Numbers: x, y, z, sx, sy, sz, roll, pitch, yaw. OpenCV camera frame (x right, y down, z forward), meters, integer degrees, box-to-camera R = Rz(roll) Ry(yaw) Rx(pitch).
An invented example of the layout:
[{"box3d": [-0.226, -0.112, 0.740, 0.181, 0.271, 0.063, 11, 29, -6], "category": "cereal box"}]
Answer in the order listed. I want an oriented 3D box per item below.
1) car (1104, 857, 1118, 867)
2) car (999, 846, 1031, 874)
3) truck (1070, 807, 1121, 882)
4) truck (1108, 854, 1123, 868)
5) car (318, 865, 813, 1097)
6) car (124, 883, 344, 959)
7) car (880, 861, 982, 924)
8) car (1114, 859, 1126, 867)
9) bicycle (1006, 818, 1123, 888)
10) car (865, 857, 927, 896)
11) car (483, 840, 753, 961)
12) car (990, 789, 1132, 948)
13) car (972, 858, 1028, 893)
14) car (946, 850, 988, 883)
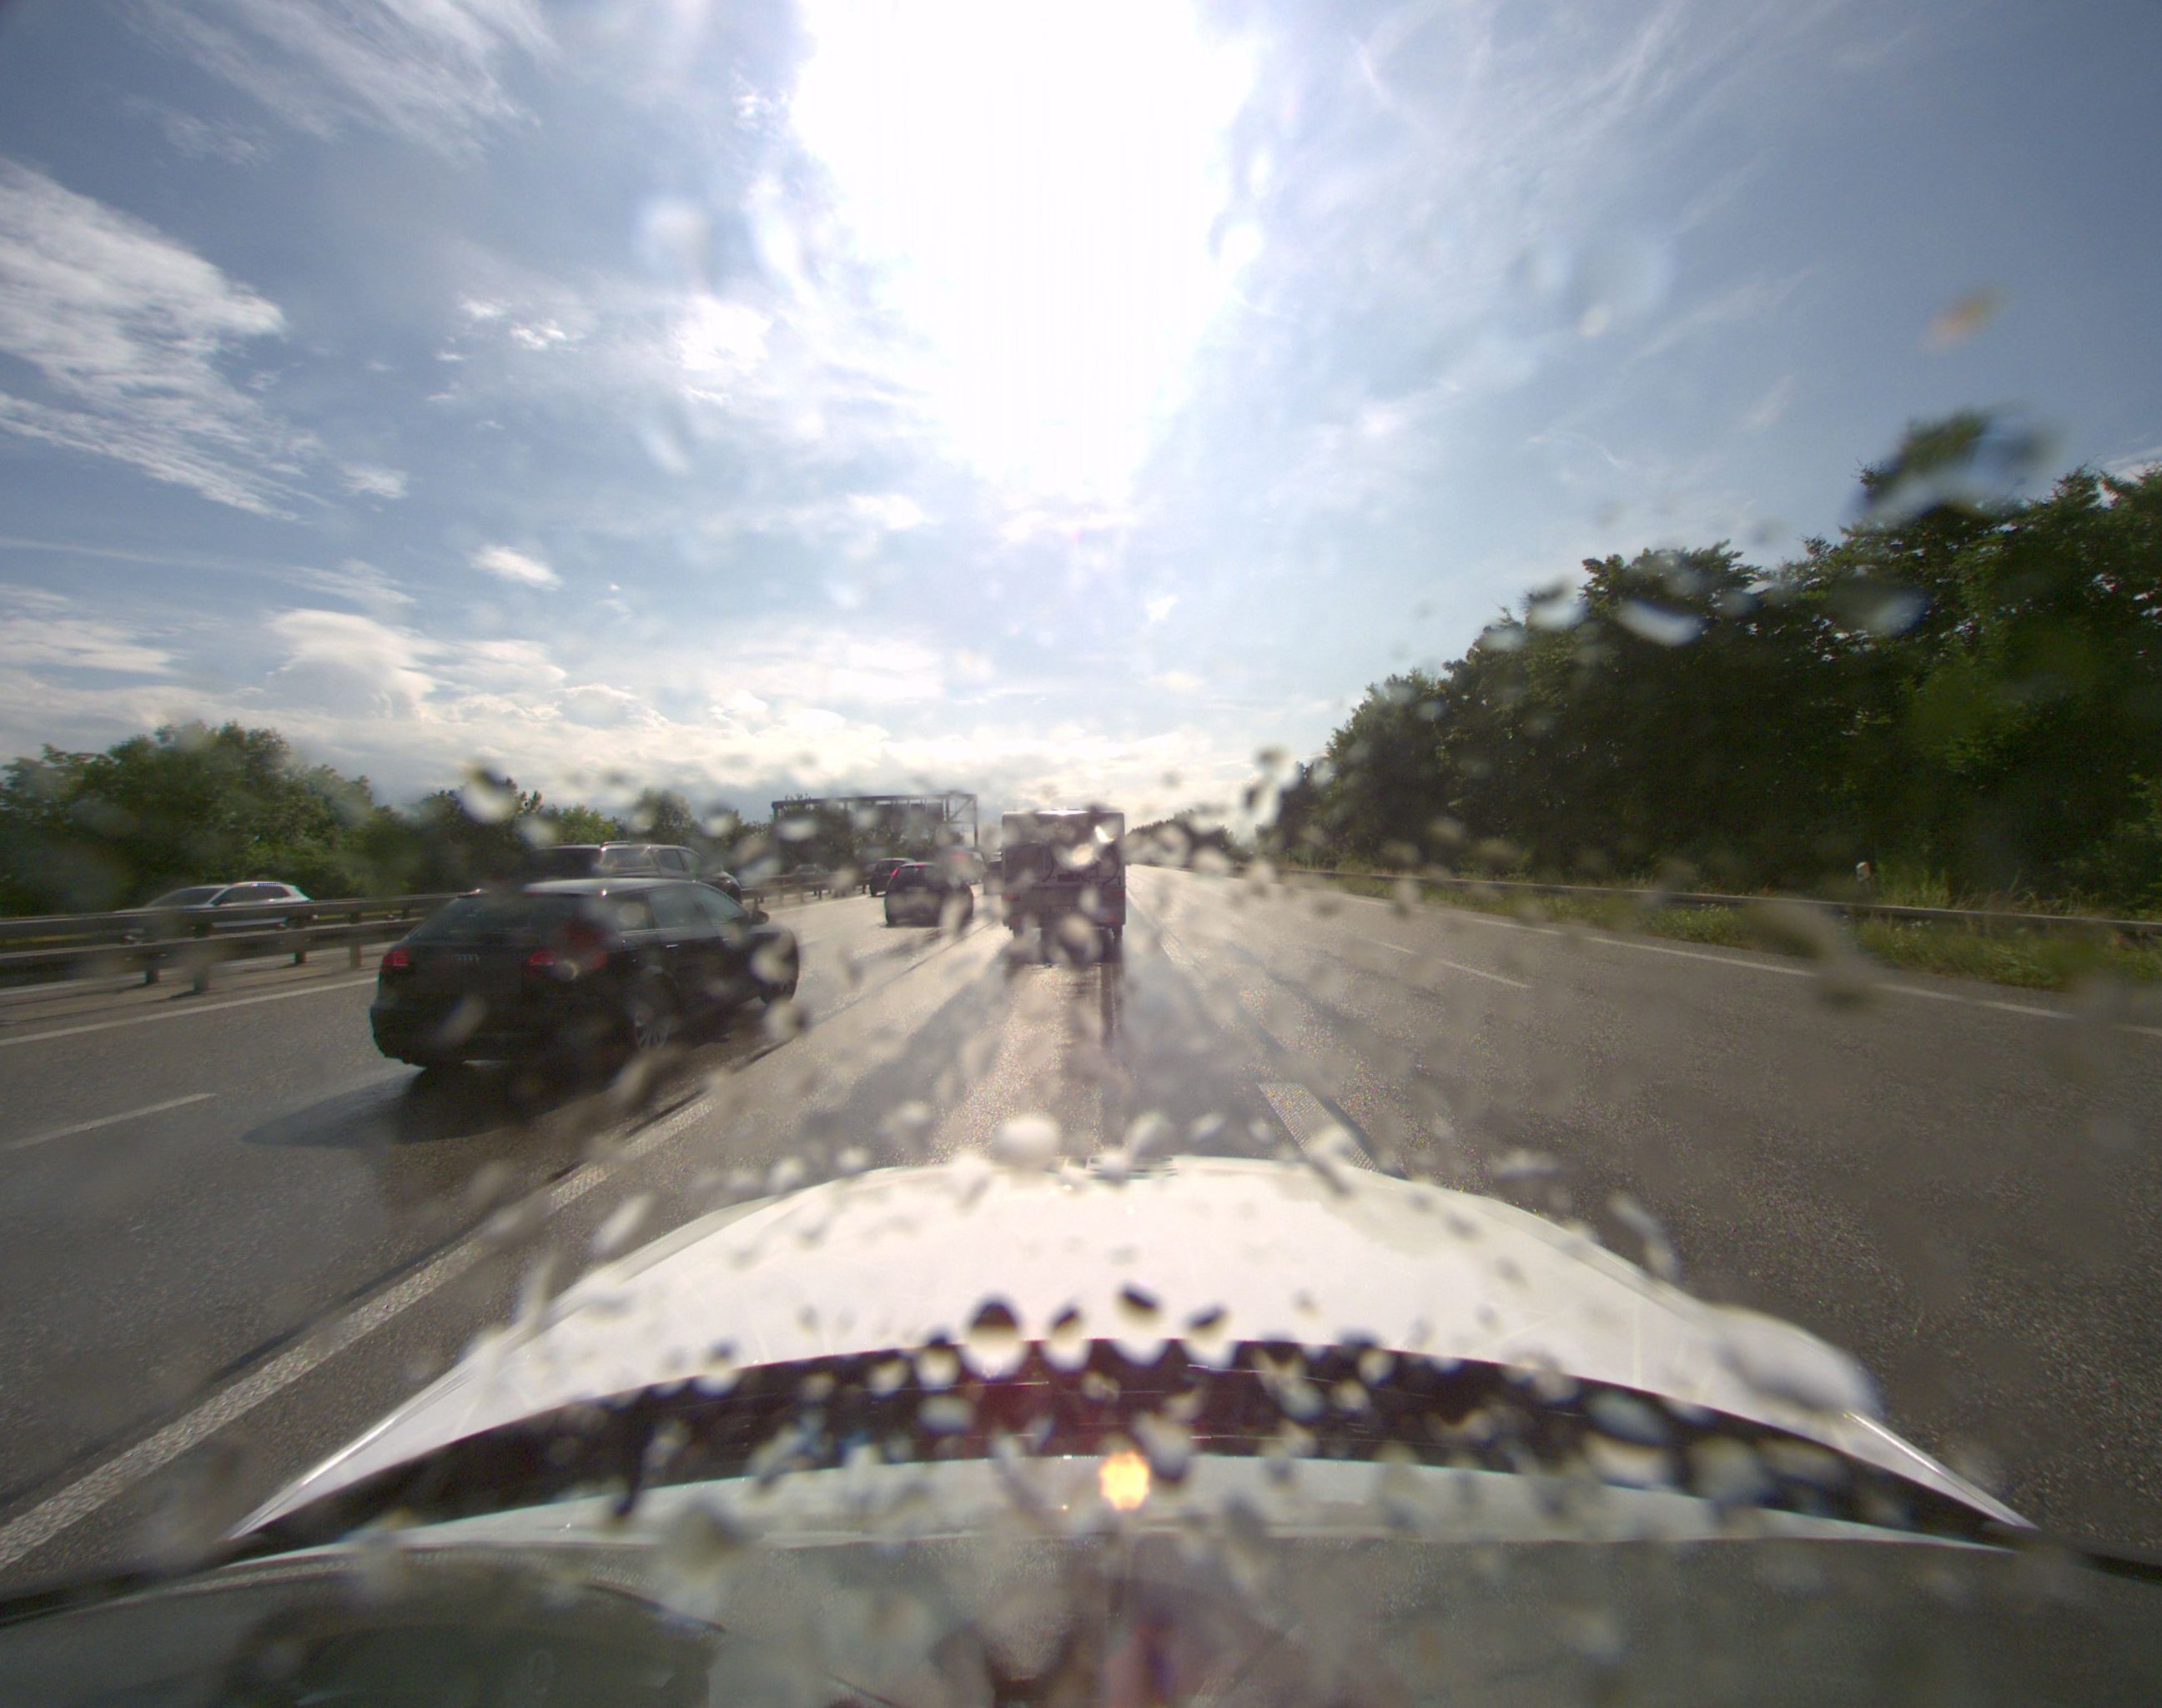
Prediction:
[{"box3d": [4.520, 1.234, 122.732, 1.831, 1.558, 3.996, 0, -1, -2], "category": "car"}, {"box3d": [-4.174, 0.377, 51.900, 1.683, 1.662, 3.641, -1, 0, 1], "category": "car"}, {"box3d": [0.969, -0.574, 56.362, 3.135, 4.626, 10.735, -1, 0, 0], "category": "truck"}, {"box3d": [5.978, 1.200, 141.774, 2.406, 2.444, 6.056, -1, 0, 2], "category": "truck"}, {"box3d": [-4.021, 0.854, 7.311, 1.743, 1.433, 4.056, -1, 0, 2], "category": "car"}, {"box3d": [-21.762, 1.647, 21.170, 1.727, 1.650, 3.810, -1, 0, 0], "category": "car"}, {"box3d": [-3.782, 0.918, 21.209, 1.752, 1.443, 4.002, -1, 0, 2], "category": "car"}, {"box3d": [7.176, 1.631, 151.257, 1.872, 1.494, 3.996, 0, -1, -3], "category": "car"}, {"box3d": [-0.261, -0.011, 13.664, 1.926, 1.141, 0.384, 0, -1, 2], "category": "bicycle"}, {"box3d": [-8.055, 0.931, 35.820, 1.777, 1.578, 3.915, -1, 0, 0], "category": "car"}, {"box3d": [-8.241, 0.732, 15.281, 1.799, 1.844, 5.421, -1, 0, 2], "category": "car"}, {"box3d": [-0.260, 0.264, 15.854, 2.401, 2.674, 4.002, 0, -1, 2], "category": "car"}, {"box3d": [-3.594, 0.927, 36.667, 1.980, 1.458, 3.828, -1, 0, 2], "category": "car"}, {"box3d": [-7.070, 0.778, 50.903, 1.841, 1.934, 5.016, -1, 0, 1], "category": "car"}]
